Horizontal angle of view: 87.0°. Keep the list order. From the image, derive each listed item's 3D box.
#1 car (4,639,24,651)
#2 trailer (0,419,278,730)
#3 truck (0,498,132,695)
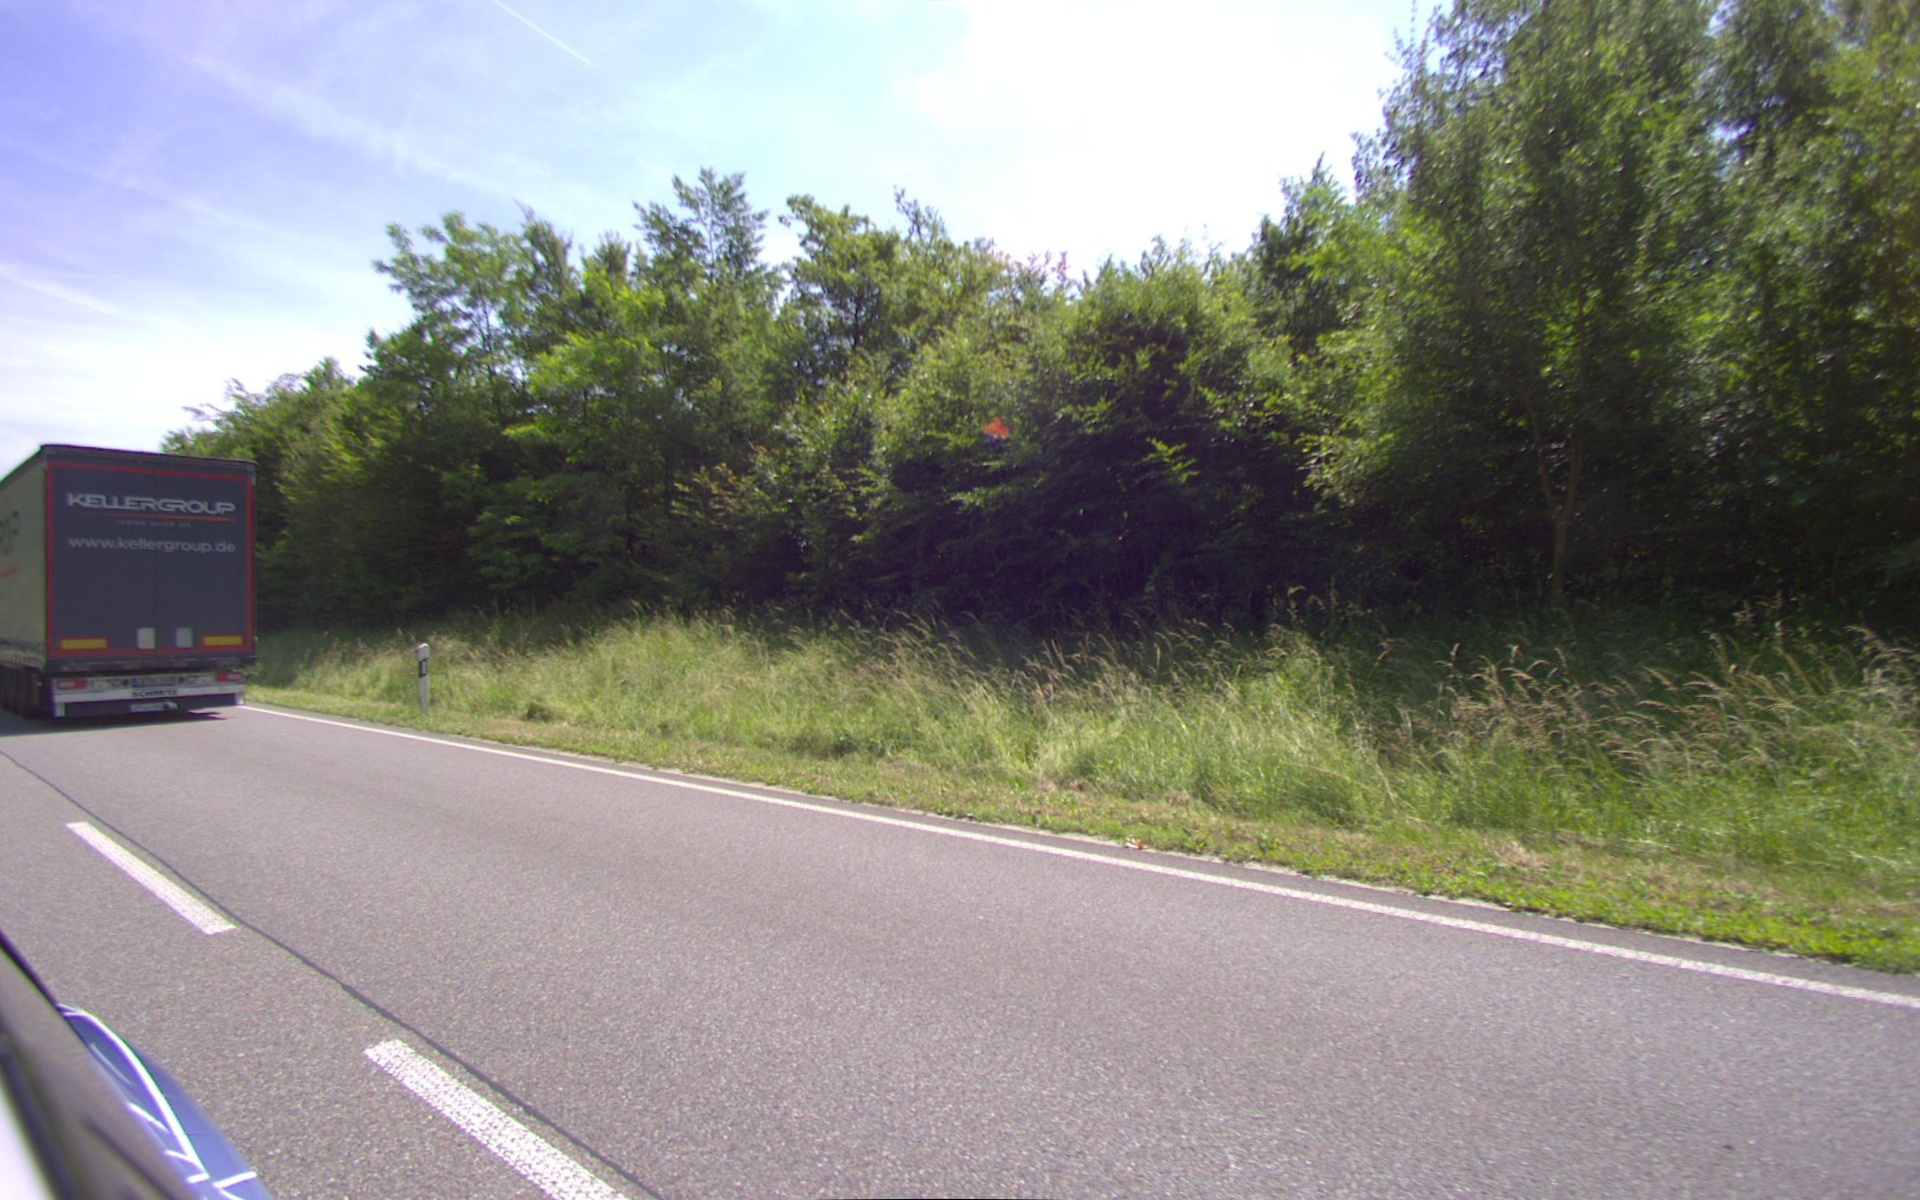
[{"bbox_3d":[-142.132,6.742,152.060,1.666,1.741,4.009,1,-2,-37],"label":"car"},{"bbox_3d":[-16.954,-0.190,19.533,13.613,4.285,2.911,-2,-2,41],"label":"trailer"},{"bbox_3d":[-22.152,-0.014,24.107,5.340,4.248,2.892,-2,-2,41],"label":"truck"}]
